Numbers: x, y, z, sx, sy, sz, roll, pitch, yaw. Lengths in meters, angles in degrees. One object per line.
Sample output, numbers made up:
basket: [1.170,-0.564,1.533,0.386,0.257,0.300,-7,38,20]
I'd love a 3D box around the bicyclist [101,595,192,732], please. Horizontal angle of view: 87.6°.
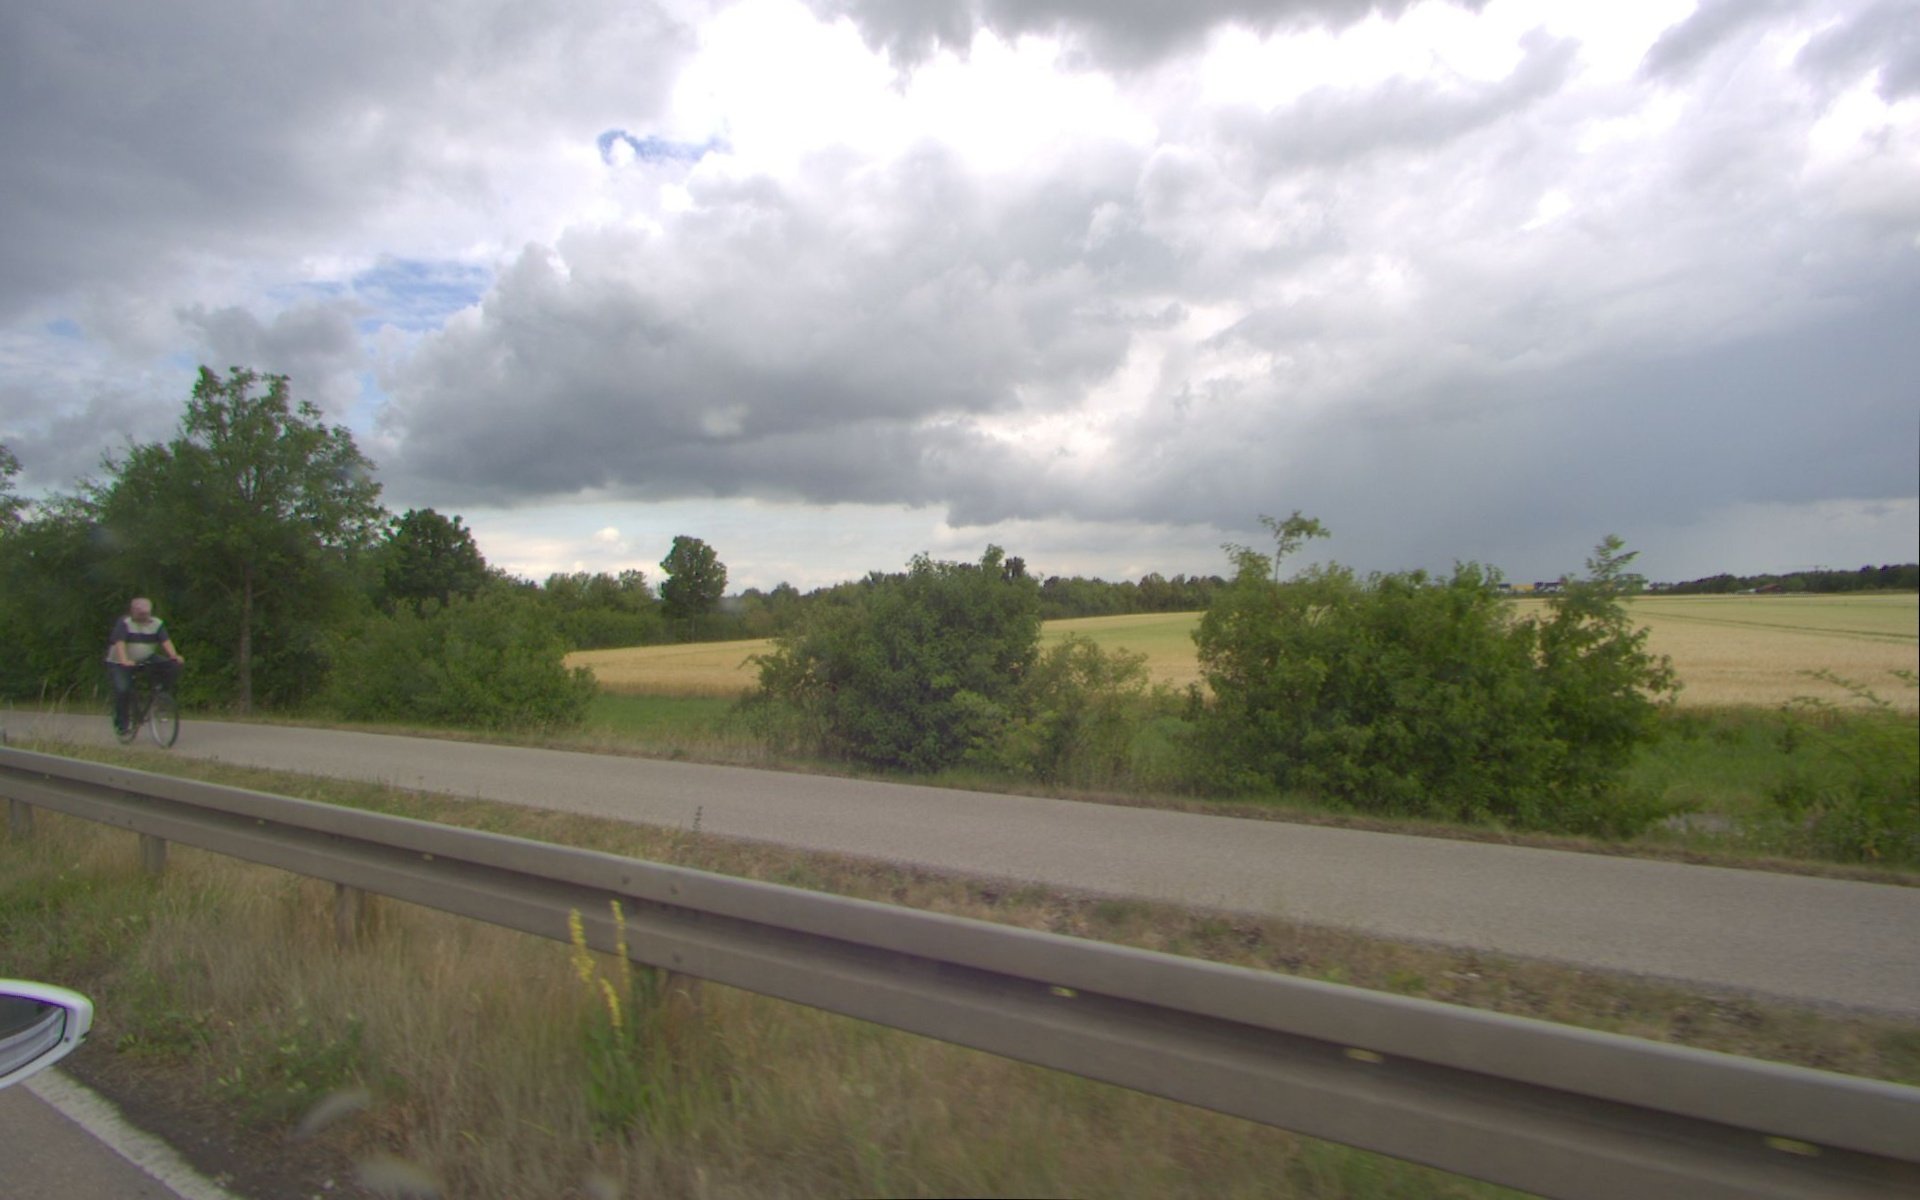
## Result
bicyclist: [-10.346,0.785,12.734,0.854,1.667,0.645,-1,0,32]

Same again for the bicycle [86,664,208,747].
bicycle: [-10.365,1.316,12.752,1.804,0.932,0.664,-1,0,32]
